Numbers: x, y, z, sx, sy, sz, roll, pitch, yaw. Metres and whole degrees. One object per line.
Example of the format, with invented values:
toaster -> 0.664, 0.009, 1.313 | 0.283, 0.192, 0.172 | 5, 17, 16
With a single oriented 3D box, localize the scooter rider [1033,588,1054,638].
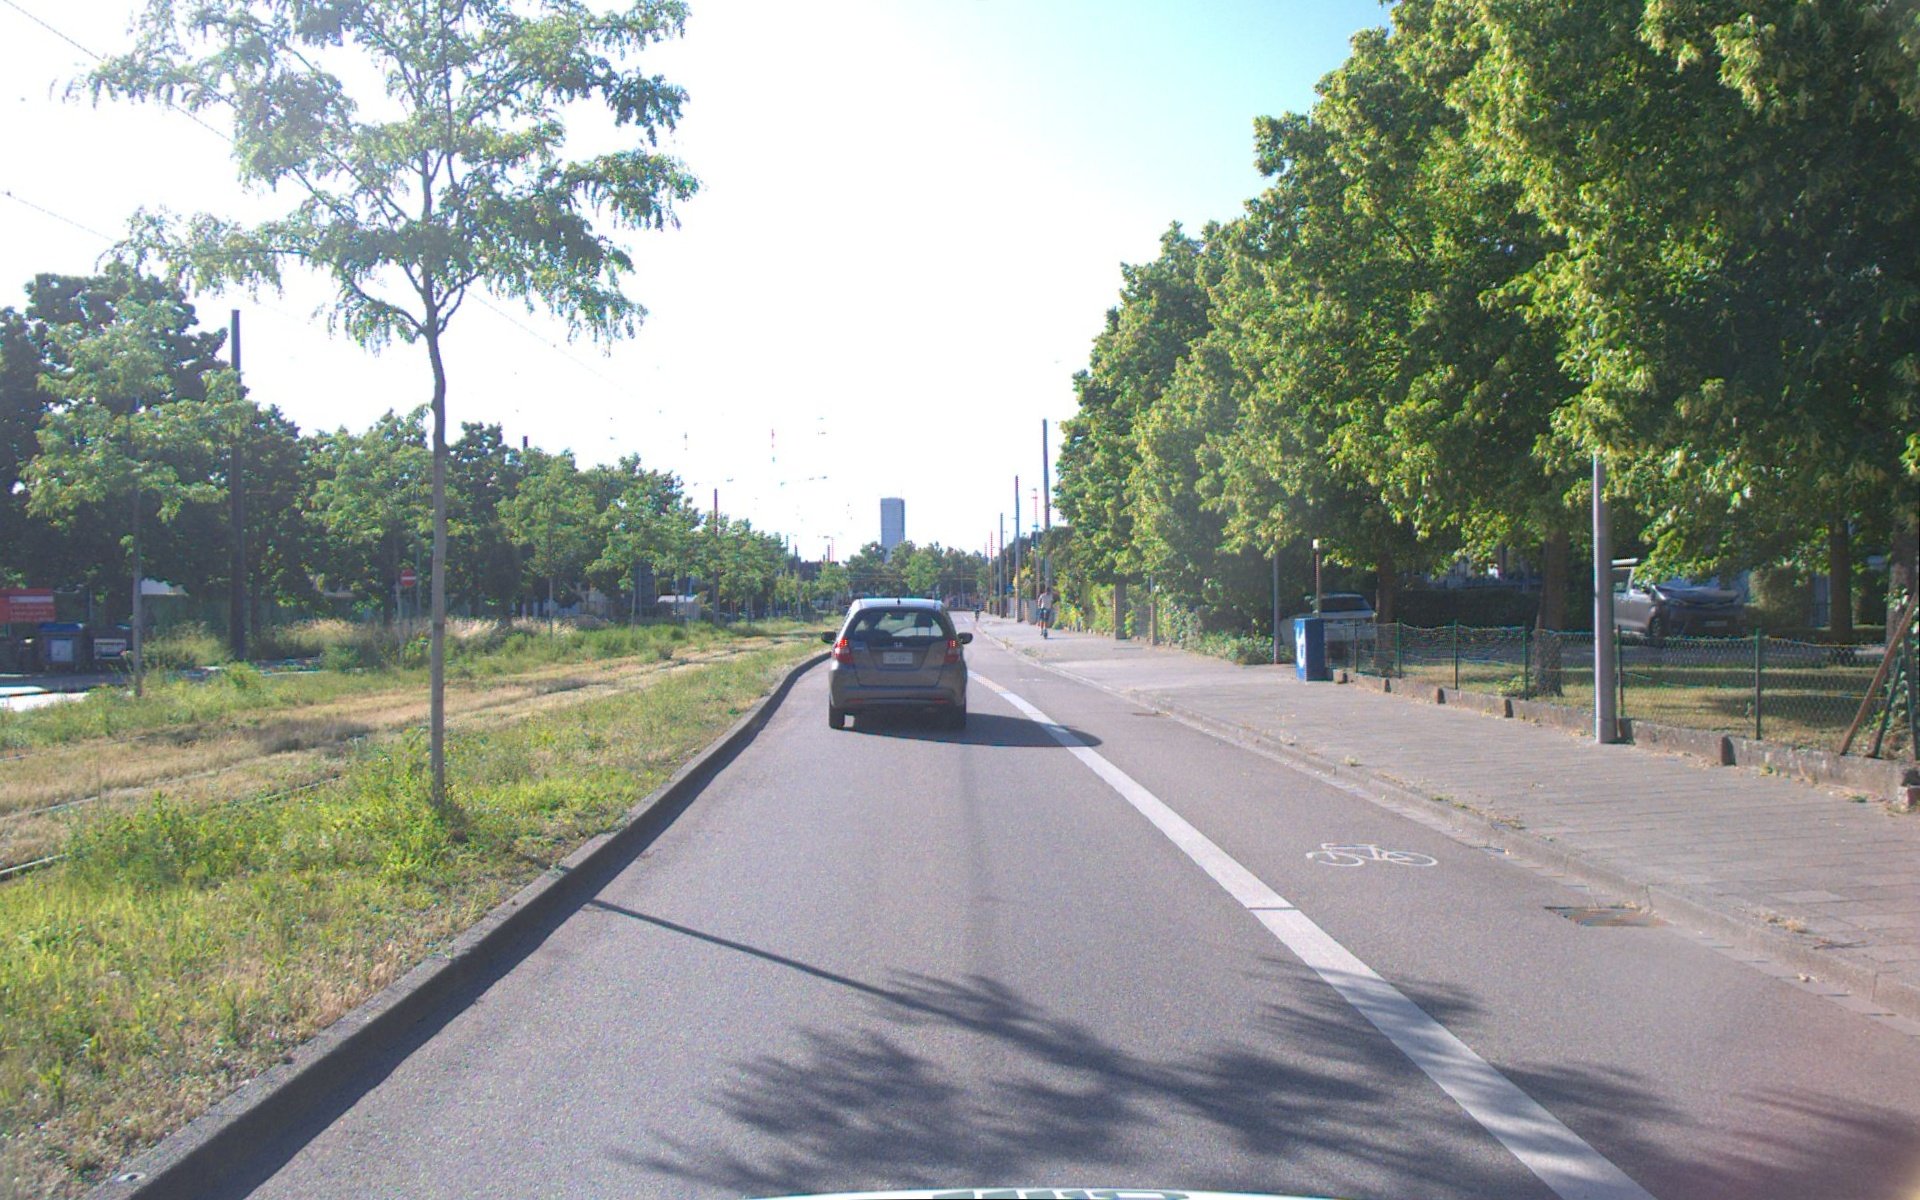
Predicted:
scooter rider -> 3.259, 0.518, 64.413 | 0.702, 1.934, 0.934 | -1, -1, -3

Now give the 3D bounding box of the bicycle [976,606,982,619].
bicycle -> 1.864, 1.198, 162.833 | 0.502, 1.263, 3.088 | -1, 0, -2

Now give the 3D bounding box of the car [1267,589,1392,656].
car -> 8.439, 0.510, 38.097 | 1.739, 1.411, 3.867 | -2, -1, -4

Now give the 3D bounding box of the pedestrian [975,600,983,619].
pedestrian -> 1.833, 0.914, 162.891 | 0.707, 1.832, 1.164 | -1, -1, -2

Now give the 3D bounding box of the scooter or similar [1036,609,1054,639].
scooter or similar -> 3.289, 0.925, 64.230 | 0.528, 1.138, 1.416 | -1, -1, -3

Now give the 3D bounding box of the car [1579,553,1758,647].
car -> 16.133, 0.015, 37.997 | 1.834, 2.001, 5.166 | 0, -1, -1

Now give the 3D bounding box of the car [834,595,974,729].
car -> -0.713, 0.721, 20.624 | 1.591, 1.526, 3.455 | 0, -1, -2
